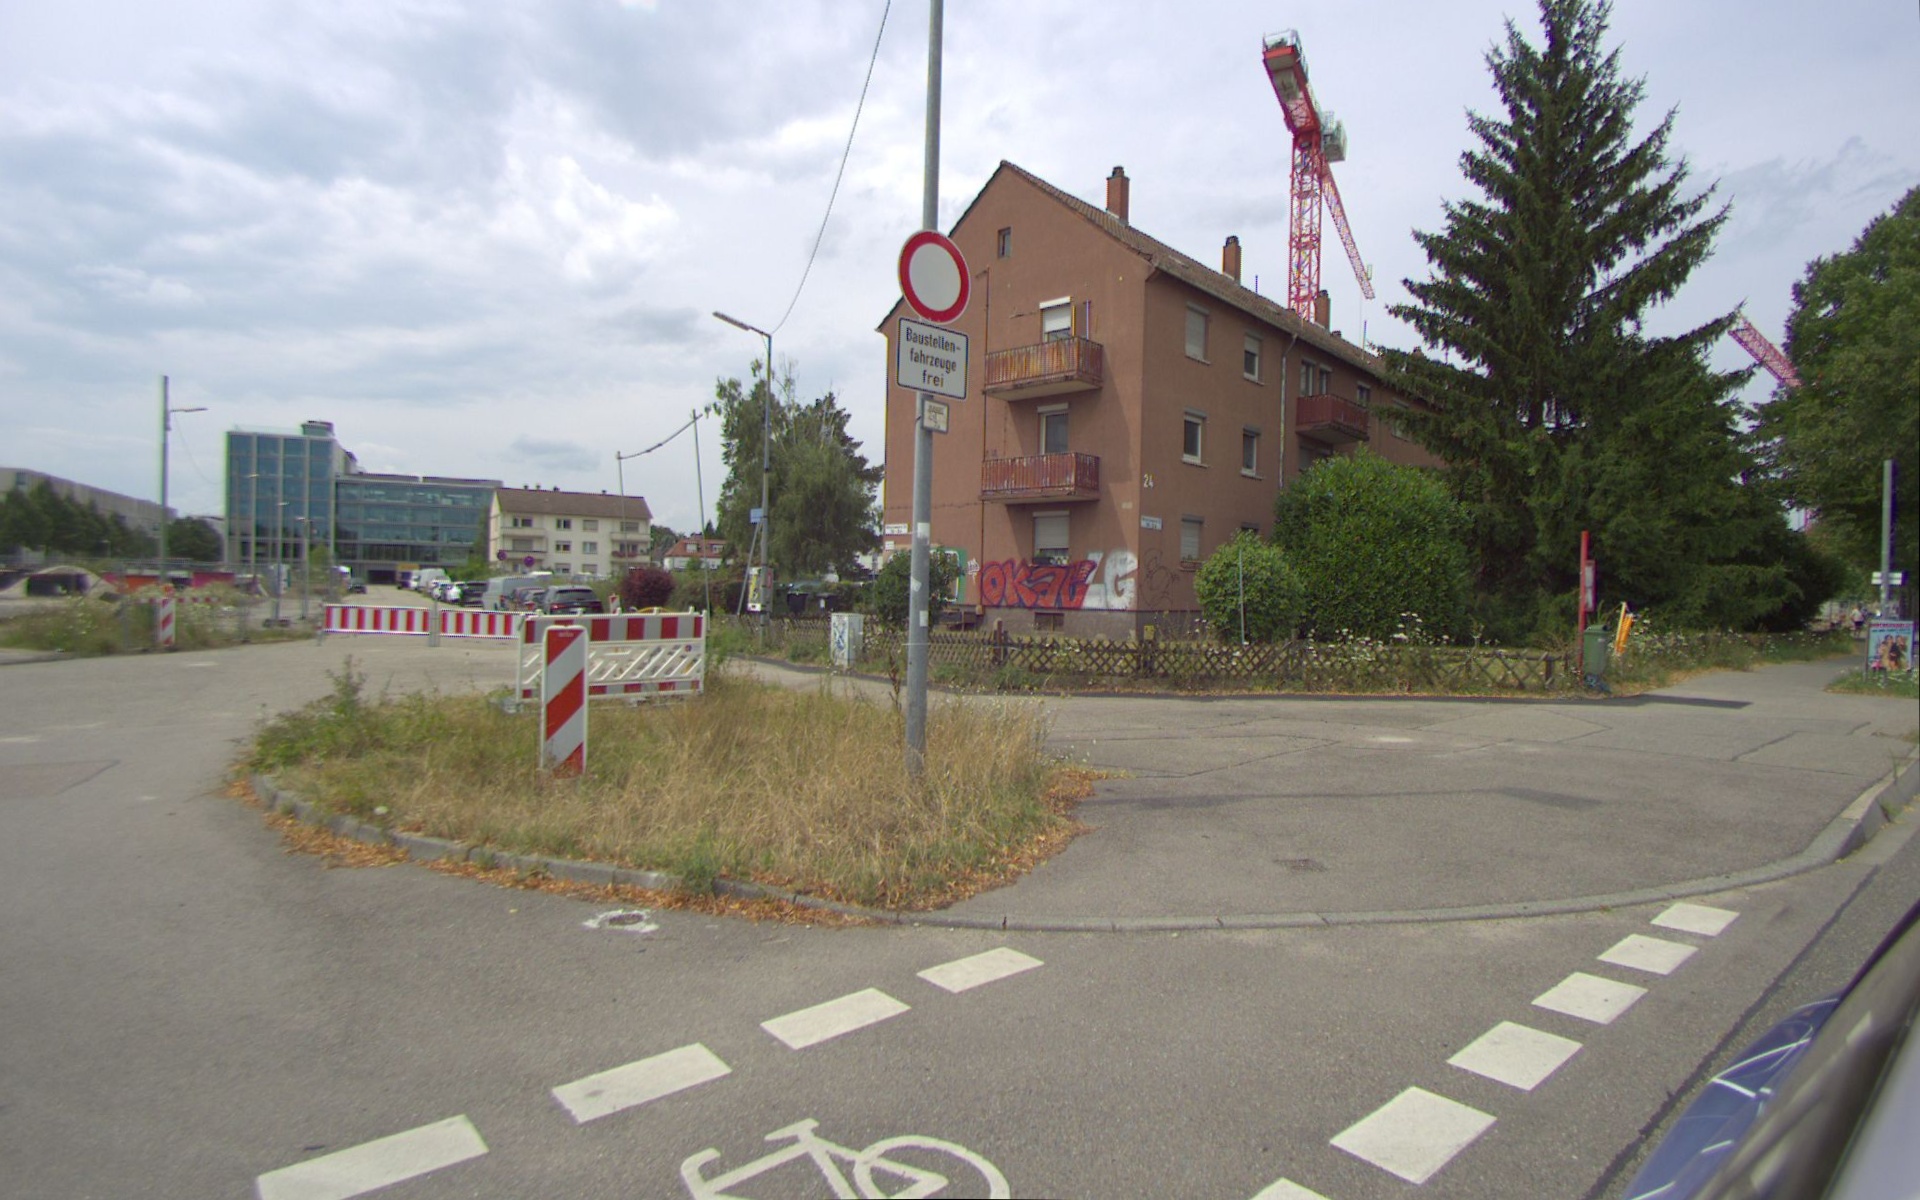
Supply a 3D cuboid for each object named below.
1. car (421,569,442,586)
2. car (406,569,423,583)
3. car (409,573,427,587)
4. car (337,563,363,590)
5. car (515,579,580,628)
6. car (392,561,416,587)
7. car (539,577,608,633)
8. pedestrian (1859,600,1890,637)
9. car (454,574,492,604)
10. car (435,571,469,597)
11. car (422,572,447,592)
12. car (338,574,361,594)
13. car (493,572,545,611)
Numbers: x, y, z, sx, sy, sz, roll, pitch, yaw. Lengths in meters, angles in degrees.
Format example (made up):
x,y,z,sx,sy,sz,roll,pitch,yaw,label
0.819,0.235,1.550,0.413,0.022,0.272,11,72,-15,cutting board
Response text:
x,y,z,sx,sy,sz,roll,pitch,yaw,label
-56.140,-2.432,107.451,1.792,1.704,3.847,-2,3,-31,car
-71.396,-3.114,132.541,1.792,1.705,3.846,1,1,-31,car
-66.181,-2.442,123.598,1.792,1.705,3.846,1,1,-31,car
-73.096,-2.903,121.316,2.561,3.121,5.875,-1,3,-31,car
-16.084,0.081,39.352,1.792,1.704,3.847,-2,3,-31,car
-76.272,-3.588,138.812,2.561,3.341,5.875,-1,3,-31,car
-13.270,0.119,34.625,1.791,1.704,3.849,-1,3,-27,car
47.395,0.946,52.443,0.870,1.836,0.887,2,1,-28,pedestrian
-30.517,-0.721,63.418,1.792,1.704,3.847,-2,3,-31,car
-35.119,-1.128,69.939,1.792,1.704,3.847,-2,3,-31,car
-47.578,-1.618,91.641,1.792,1.705,3.846,1,1,-31,car
-57.218,-1.521,94.906,1.792,1.704,3.847,-2,3,-31,car
-21.123,-0.455,48.386,1.792,1.704,3.847,-2,3,-31,car
